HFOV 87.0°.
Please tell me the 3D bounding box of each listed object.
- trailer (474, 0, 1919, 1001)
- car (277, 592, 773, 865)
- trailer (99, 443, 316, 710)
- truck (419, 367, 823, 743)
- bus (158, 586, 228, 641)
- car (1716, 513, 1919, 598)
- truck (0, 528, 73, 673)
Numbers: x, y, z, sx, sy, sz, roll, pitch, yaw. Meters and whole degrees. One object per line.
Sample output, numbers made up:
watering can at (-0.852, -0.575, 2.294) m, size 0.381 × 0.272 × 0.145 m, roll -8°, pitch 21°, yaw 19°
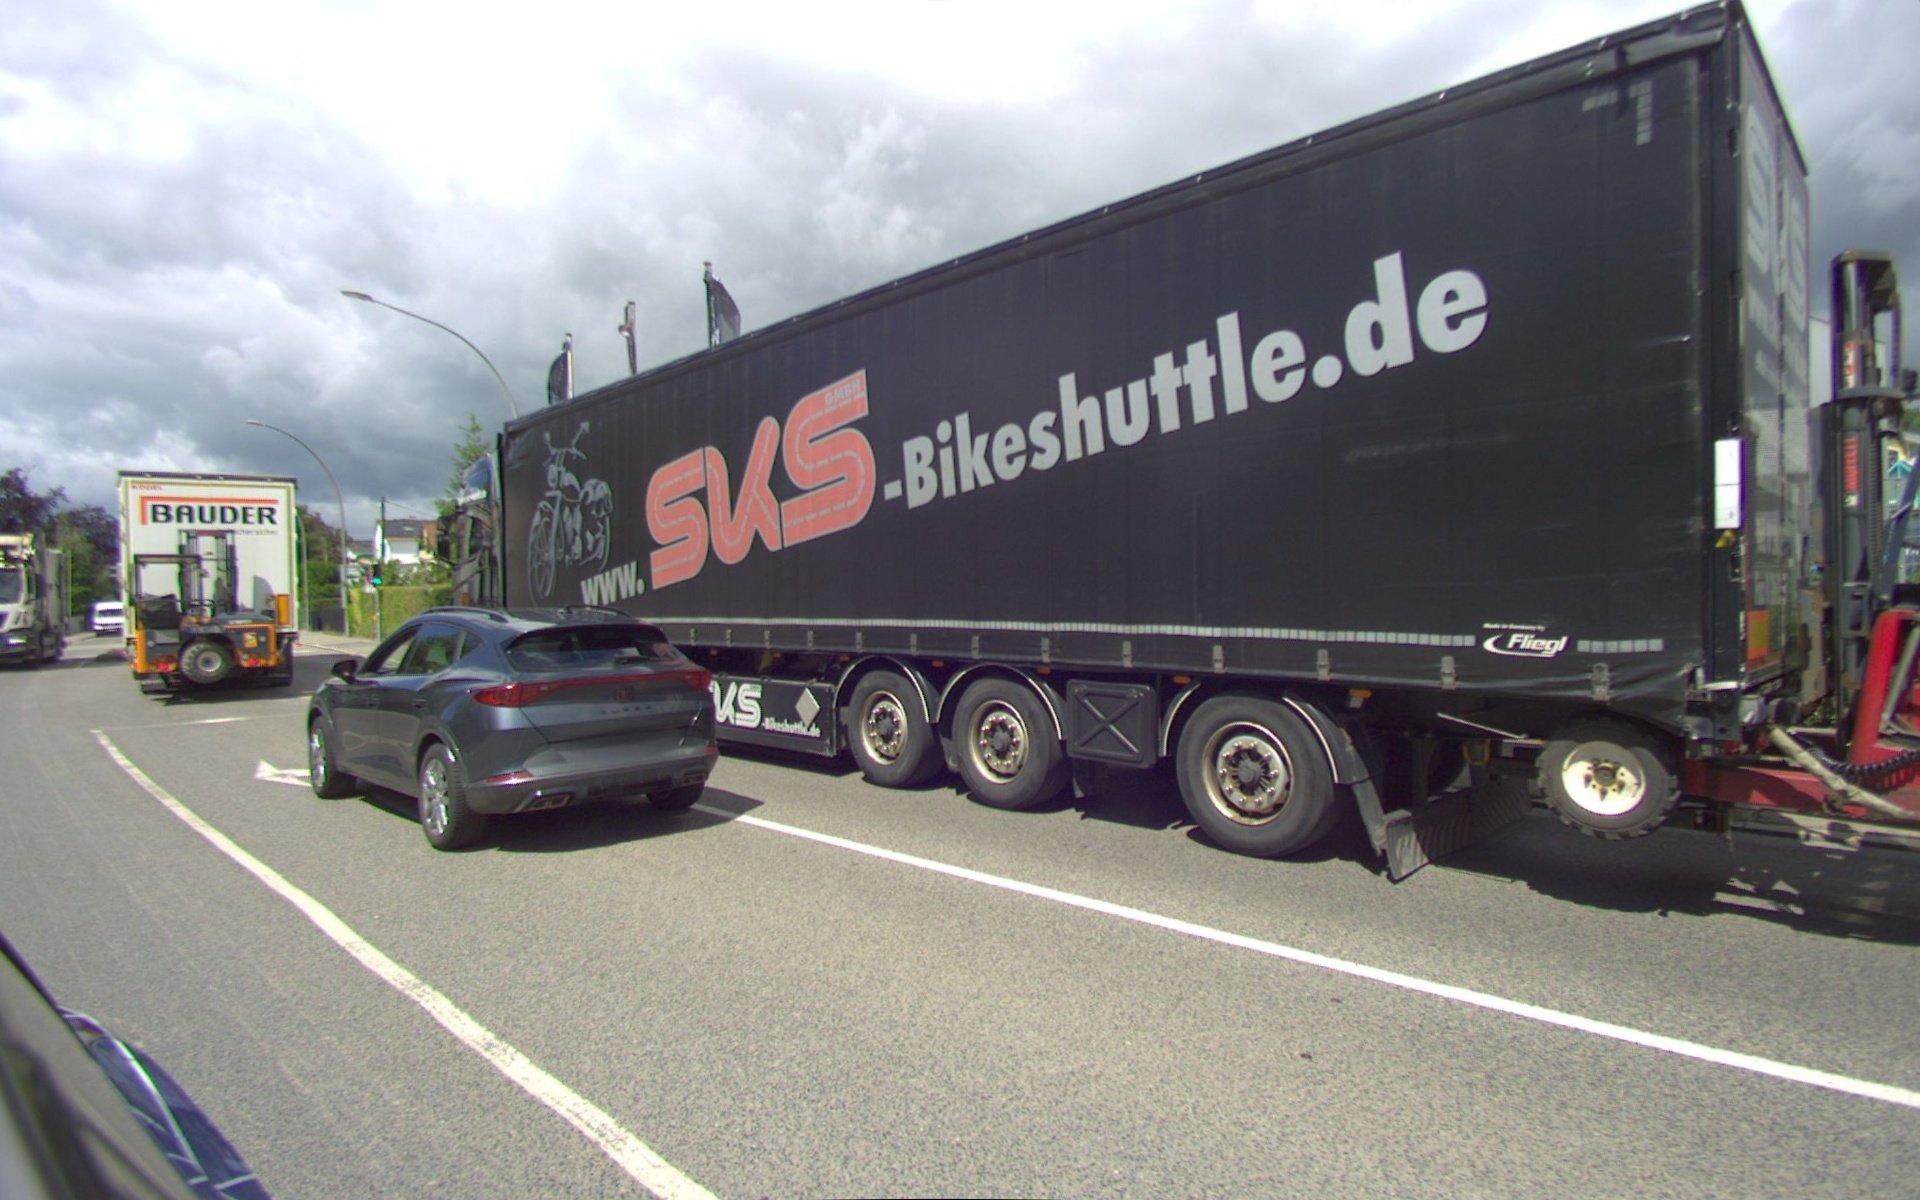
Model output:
trailer at (-0.186, -0.576, 9.247) m, size 2.767 × 4.083 × 15.567 m, roll -2°, pitch 1°, yaw -44°
car at (-3.442, 0.724, 7.577) m, size 4.252 × 1.474 × 1.820 m, roll -1°, pitch -1°, yaw 42°
trailer at (-16.864, -0.350, 22.861) m, size 2.735 × 4.176 × 15.386 m, roll -2°, pitch 1°, yaw -36°
truck at (-5.054, -0.489, 14.303) m, size 2.767 × 4.083 × 6.506 m, roll -2°, pitch 1°, yaw -44°
bus at (-47.104, 0.769, 61.996) m, size 2.685 × 3.053 × 12.284 m, roll -1°, pitch 0°, yaw -41°
car at (18.441, -0.889, 20.949) m, size 1.699 × 1.617 × 4.159 m, roll -2°, pitch 1°, yaw -38°
truck at (-29.050, 0.071, 30.453) m, size 2.623 × 3.840 × 9.837 m, roll -2°, pitch 1°, yaw -37°
